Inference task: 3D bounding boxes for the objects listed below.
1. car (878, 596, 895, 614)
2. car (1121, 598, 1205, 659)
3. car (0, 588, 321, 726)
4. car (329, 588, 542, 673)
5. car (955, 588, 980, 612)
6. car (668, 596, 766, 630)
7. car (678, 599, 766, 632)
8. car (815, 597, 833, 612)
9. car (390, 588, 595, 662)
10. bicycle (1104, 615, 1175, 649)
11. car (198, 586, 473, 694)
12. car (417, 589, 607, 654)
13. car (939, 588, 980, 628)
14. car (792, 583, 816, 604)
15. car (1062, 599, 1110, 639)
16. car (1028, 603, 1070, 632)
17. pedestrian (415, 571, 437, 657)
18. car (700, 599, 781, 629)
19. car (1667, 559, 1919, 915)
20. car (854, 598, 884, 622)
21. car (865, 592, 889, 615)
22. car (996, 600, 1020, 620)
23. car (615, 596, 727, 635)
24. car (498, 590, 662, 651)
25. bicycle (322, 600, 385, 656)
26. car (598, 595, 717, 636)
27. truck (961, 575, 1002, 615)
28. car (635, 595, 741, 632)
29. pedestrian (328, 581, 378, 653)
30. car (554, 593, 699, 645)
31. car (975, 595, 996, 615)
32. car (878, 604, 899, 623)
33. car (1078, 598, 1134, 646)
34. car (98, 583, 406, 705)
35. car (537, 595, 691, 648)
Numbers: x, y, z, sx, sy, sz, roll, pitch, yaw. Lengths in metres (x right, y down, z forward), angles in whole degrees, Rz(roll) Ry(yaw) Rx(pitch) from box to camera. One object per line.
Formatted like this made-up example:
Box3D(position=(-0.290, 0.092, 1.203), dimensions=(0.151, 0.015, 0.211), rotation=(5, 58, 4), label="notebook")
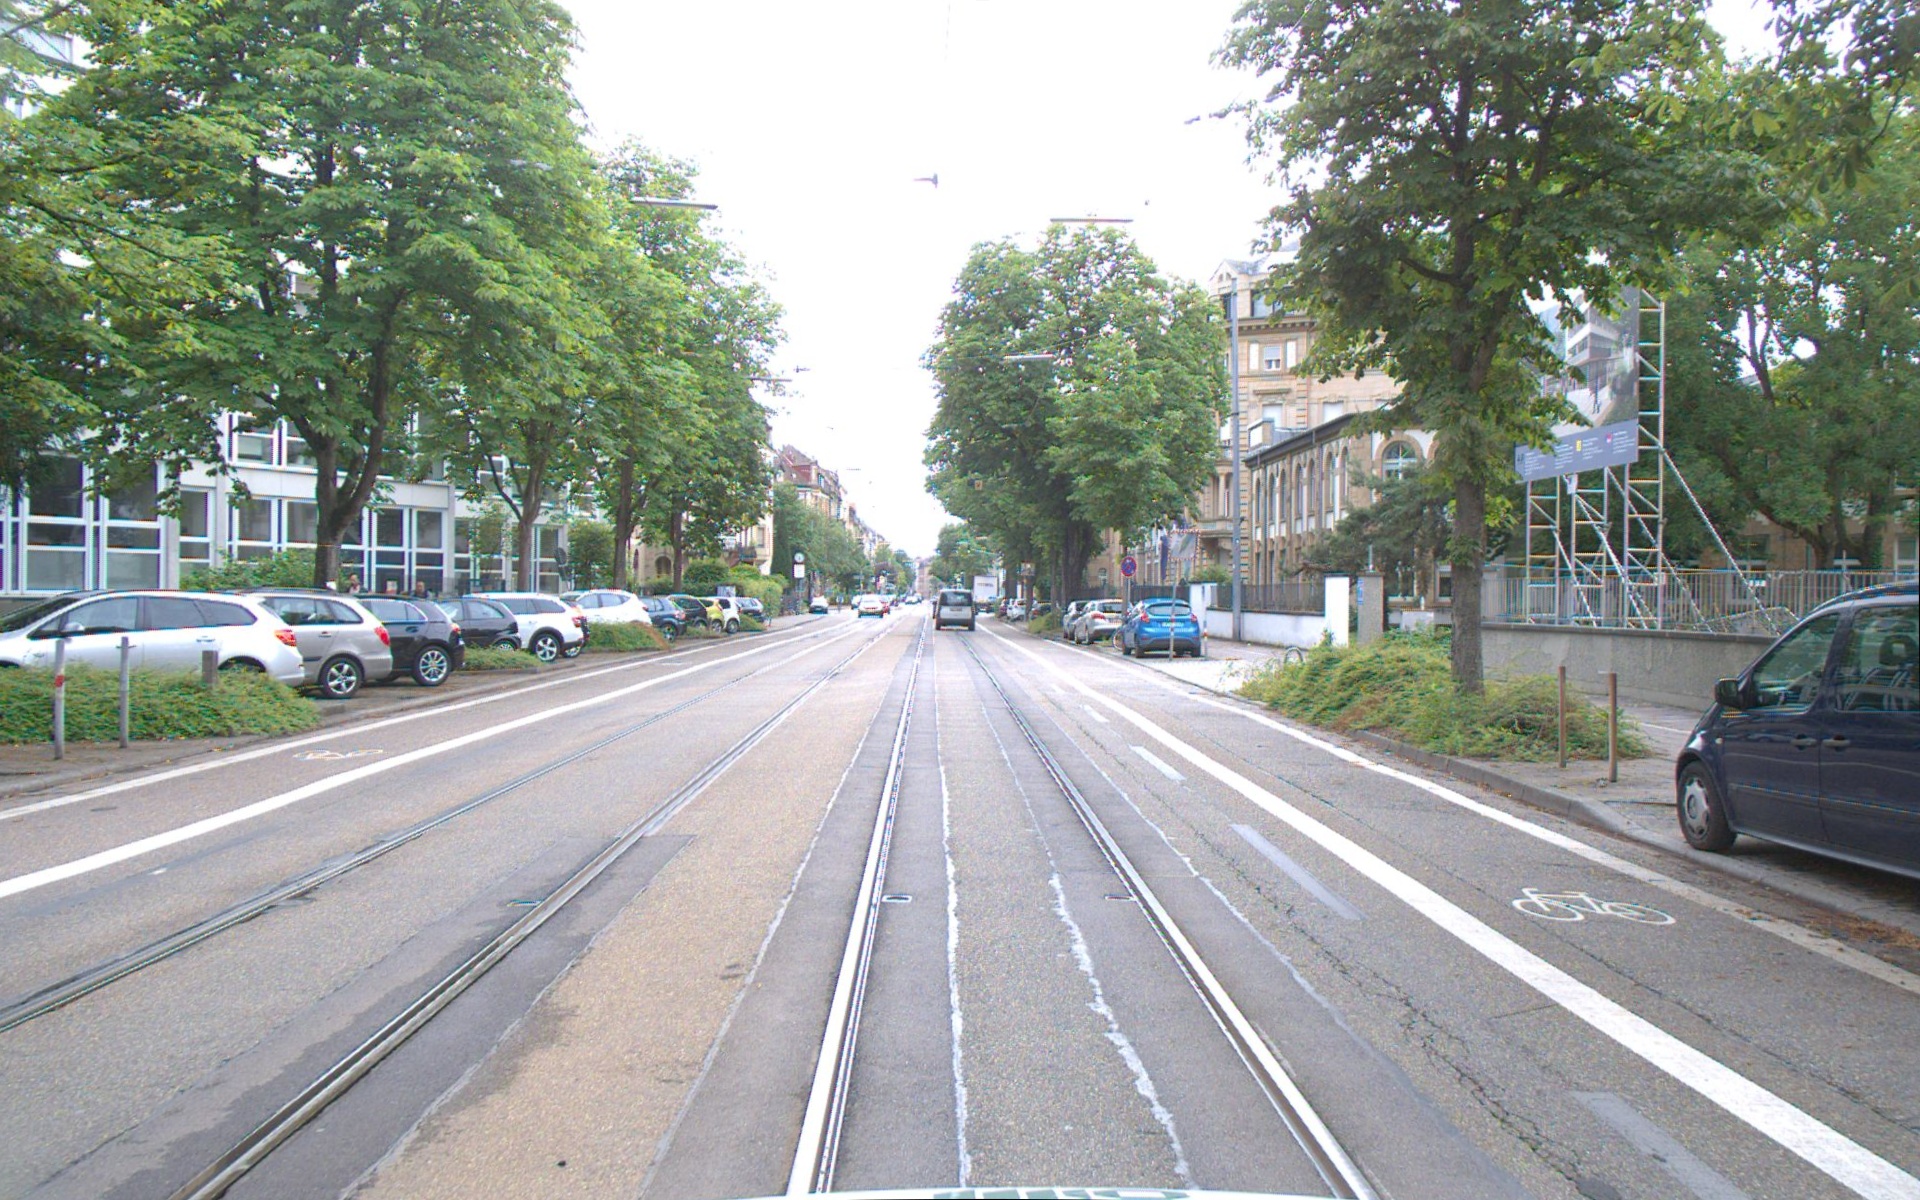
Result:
Box3D(position=(-9.612, 0.619, 217.107), dimensions=(2.160, 2.295, 3.999), rotation=(0, 0, -1), label="car")
Box3D(position=(5.224, 0.703, 42.915), dimensions=(1.640, 1.486, 3.431), rotation=(1, 0, -1), label="car")
Box3D(position=(-10.081, 0.634, 19.579), dimensions=(1.769, 1.490, 4.411), rotation=(0, -1, 38), label="car")
Box3D(position=(-10.344, 0.599, 32.773), dimensions=(1.671, 1.550, 3.679), rotation=(1, 0, 44), label="car")
Box3D(position=(0.640, -0.027, 147.747), dimensions=(1.954, 2.049, 3.998), rotation=(1, 0, -3), label="car")
Box3D(position=(-10.317, 0.551, 70.441), dimensions=(1.671, 1.375, 3.942), rotation=(1, 0, 43), label="car")
Box3D(position=(-10.936, 0.719, 75.989), dimensions=(3.661, 1.410, 1.686), rotation=(1, 0, -26), label="car")
Box3D(position=(-12.543, 0.407, 152.806), dimensions=(1.609, 1.378, 3.874), rotation=(1, 0, -4), label="car")
Box3D(position=(-10.189, 0.554, 36.209), dimensions=(3.989, 1.510, 1.676), rotation=(1, 0, -39), label="car")
Box3D(position=(5.159, 0.922, 47.663), dimensions=(1.973, 0.974, 0.533), rotation=(0, 0, -5), label="bicycle")
Box3D(position=(-9.765, 0.614, 26.021), dimensions=(1.671, 1.550, 3.679), rotation=(1, 0, 44), label="car")
Box3D(position=(-10.511, 0.523, 38.964), dimensions=(3.989, 1.430, 1.676), rotation=(1, 0, -39), label="car")
Box3D(position=(0.007, 0.373, 75.646), dimensions=(1.774, 1.738, 3.699), rotation=(1, -1, 1), label="car")
Box3D(position=(-16.753, -0.709, 177.907), dimensions=(2.133, 2.246, 4.218), rotation=(0, 0, 0), label="car")
Box3D(position=(4.684, 0.689, 61.851), dimensions=(1.445, 1.454, 3.564), rotation=(1, 0, -1), label="car")
Box3D(position=(4.090, 0.781, 76.474), dimensions=(1.834, 1.273, 4.001), rotation=(0, 0, 1), label="car")
Box3D(position=(-12.884, 0.323, 39.917), dimensions=(0.455, 2.049, 0.854), rotation=(0, 0, -15), label="pedestrian")
Box3D(position=(-10.892, 0.691, 82.103), dimensions=(3.661, 1.410, 1.686), rotation=(1, 0, -26), label="car")
Box3D(position=(5.770, 0.728, 9.457), dimensions=(1.620, 1.844, 4.083), rotation=(1, -1, -1), label="car")
Box3D(position=(-6.298, 0.672, 114.824), dimensions=(1.861, 1.557, 3.754), rotation=(-1, 0, 1), label="car")
Box3D(position=(-8.725, 0.356, 174.196), dimensions=(2.159, 2.460, 4.001), rotation=(0, 0, 3), label="car")
Box3D(position=(3.569, 0.757, 123.694), dimensions=(1.733, 1.423, 3.795), rotation=(0, 0, 1), label="car")
Box3D(position=(-10.842, 0.594, 62.261), dimensions=(1.671, 1.375, 3.942), rotation=(1, 0, 43), label="car")
Box3D(position=(-10.496, 0.563, 45.910), dimensions=(1.668, 1.583, 4.324), rotation=(1, 0, 40), label="car")
Box3D(position=(-14.325, 0.673, 39.104), dimensions=(0.396, 1.290, 1.595), rotation=(1, -1, 22), label="bicycle")
Box3D(position=(-10.757, 0.567, 58.919), dimensions=(1.671, 1.375, 3.942), rotation=(1, 0, 43), label="car")
Box3D(position=(2.224, -0.583, 177.108), dimensions=(3.732, 4.100, 10.212), rotation=(1, 0, -3), label="truck")
Box3D(position=(-10.696, 0.561, 65.262), dimensions=(1.671, 1.375, 3.942), rotation=(1, 0, 43), label="car")
Box3D(position=(-14.310, 0.406, 39.017), dimensions=(0.737, 1.640, 0.734), rotation=(1, -2, 22), label="pedestrian")
Box3D(position=(-10.535, 0.621, 52.482), dimensions=(1.671, 1.562, 4.317), rotation=(1, 0, 43), label="car")
Box3D(position=(2.416, 0.458, 160.091), dimensions=(1.846, 1.878, 3.999), rotation=(1, -1, -1), label="car")
Box3D(position=(-5.962, 1.108, 138.249), dimensions=(1.642, 1.549, 2.781), rotation=(1, -1, -1), label="car")
Box3D(position=(4.798, 0.694, 54.798), dimensions=(1.445, 1.507, 3.564), rotation=(1, 0, -1), label="car")
Box3D(position=(-9.814, 0.595, 23.088), dimensions=(1.546, 1.550, 3.625), rotation=(1, 0, 44), label="car")
Box3D(position=(-10.249, 0.647, 49.260), dimensions=(1.671, 1.479, 4.317), rotation=(1, 0, 43), label="car")
